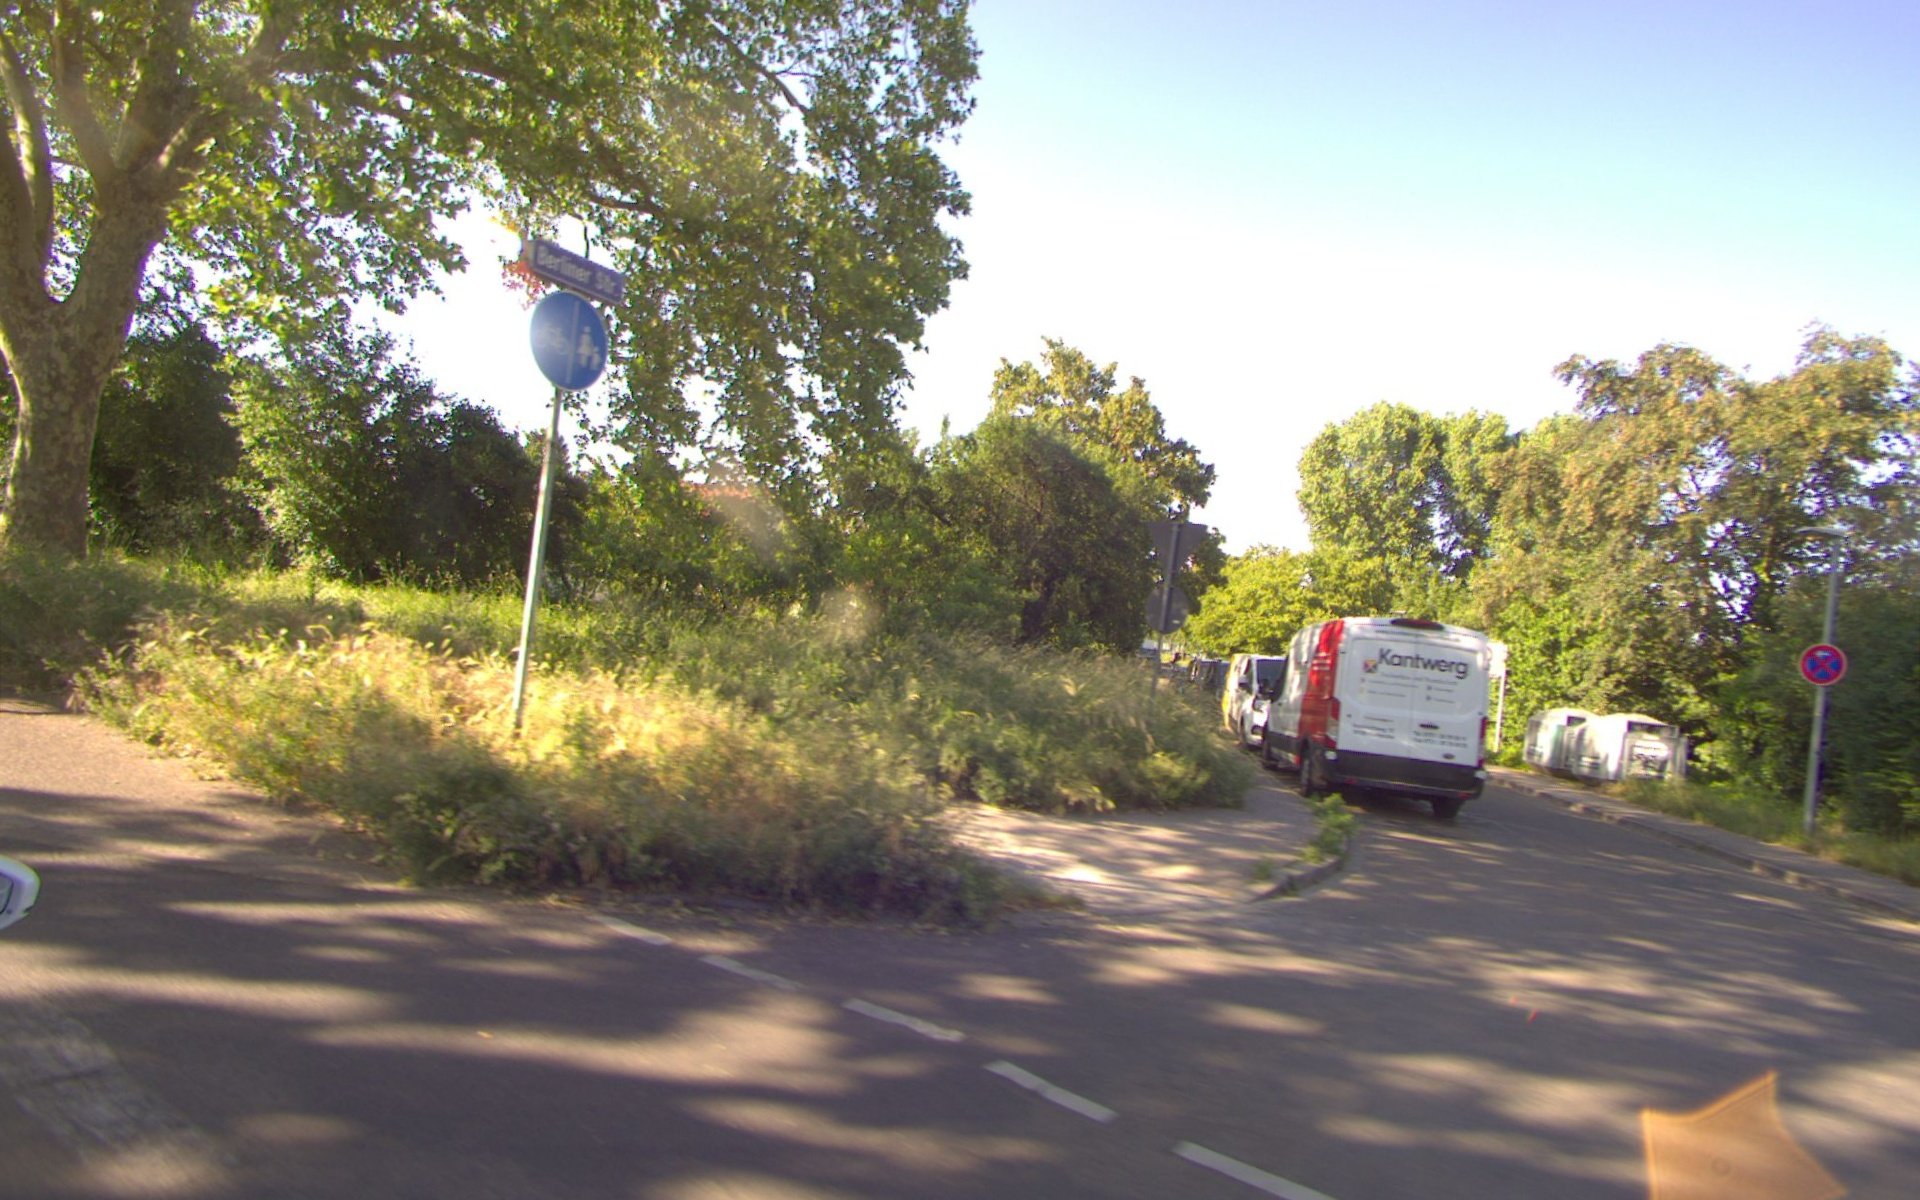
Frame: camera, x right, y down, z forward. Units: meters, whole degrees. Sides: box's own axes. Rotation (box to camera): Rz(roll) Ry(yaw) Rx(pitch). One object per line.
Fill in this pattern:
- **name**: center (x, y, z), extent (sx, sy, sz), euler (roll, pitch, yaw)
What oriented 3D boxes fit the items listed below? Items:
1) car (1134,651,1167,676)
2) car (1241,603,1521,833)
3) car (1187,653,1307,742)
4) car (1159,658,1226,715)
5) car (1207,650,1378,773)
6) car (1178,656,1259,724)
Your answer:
- **car**: center (15.656, 5.201, 82.652), extent (1.962, 1.721, 4.005), euler (7, -3, 3)
- **car**: center (5.806, 1.582, 14.732), extent (2.285, 2.466, 5.008), euler (8, -3, 8)
- **car**: center (7.718, 2.593, 27.598), extent (2.249, 1.895, 5.157), euler (7, -3, 8)
- **car**: center (9.231, 3.417, 40.206), extent (1.983, 1.875, 4.404), euler (7, -3, 8)
- **car**: center (6.716, 2.206, 20.993), extent (2.249, 1.964, 5.157), euler (7, -3, 8)
- **car**: center (8.645, 2.989, 33.971), extent (1.983, 1.895, 3.932), euler (7, -3, 8)
